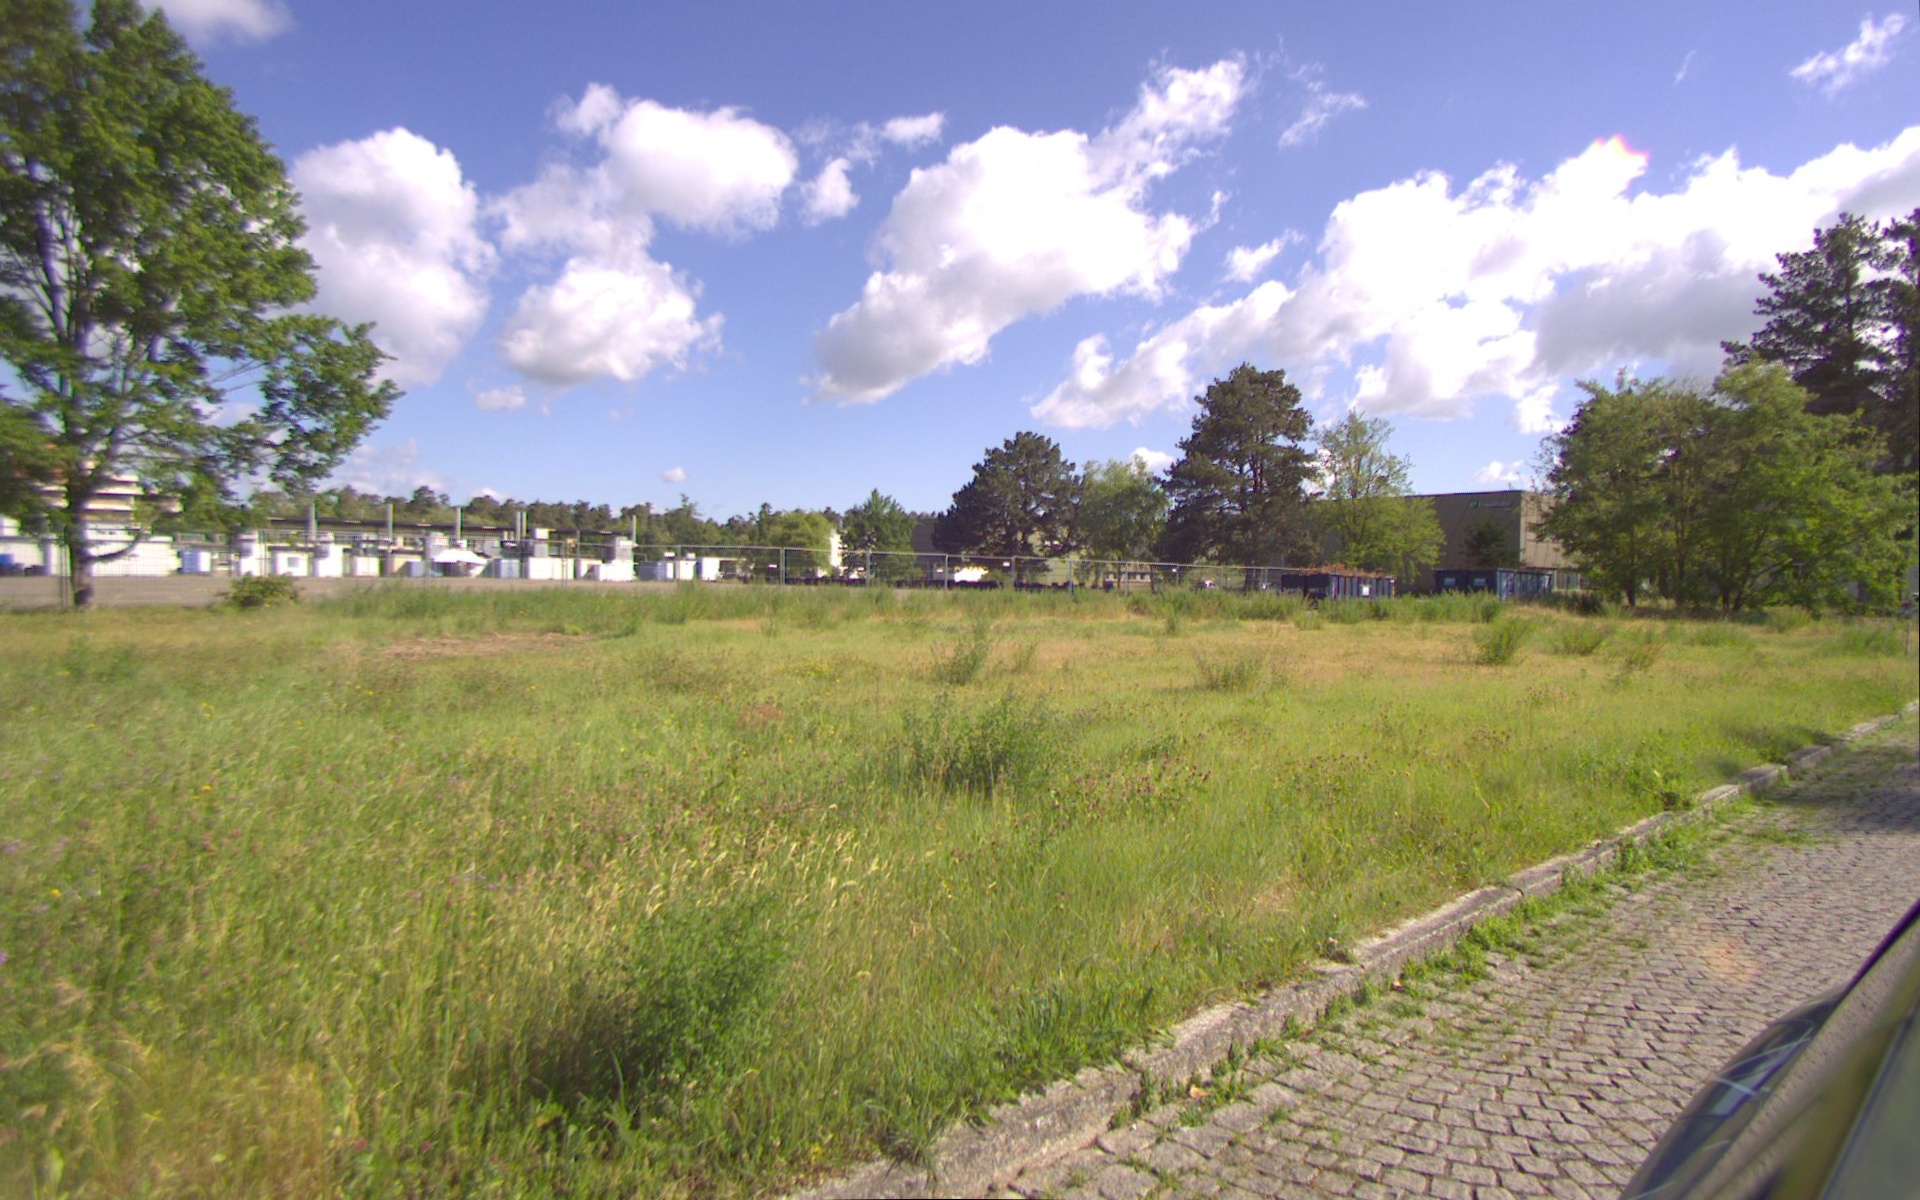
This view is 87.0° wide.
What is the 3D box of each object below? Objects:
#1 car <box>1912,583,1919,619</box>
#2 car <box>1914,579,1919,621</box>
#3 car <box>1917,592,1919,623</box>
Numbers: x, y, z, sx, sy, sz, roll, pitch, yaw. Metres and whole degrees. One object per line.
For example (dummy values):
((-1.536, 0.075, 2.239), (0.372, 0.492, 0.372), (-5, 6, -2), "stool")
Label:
((41.792, 0.190, 41.011), (1.807, 1.482, 4.521), (-1, 5, -42), "car")
((36.182, 0.138, 35.489), (1.721, 1.494, 3.749), (-1, 5, -41), "car")
((38.206, 0.271, 37.313), (1.812, 1.458, 4.014), (0, 5, -41), "car")
